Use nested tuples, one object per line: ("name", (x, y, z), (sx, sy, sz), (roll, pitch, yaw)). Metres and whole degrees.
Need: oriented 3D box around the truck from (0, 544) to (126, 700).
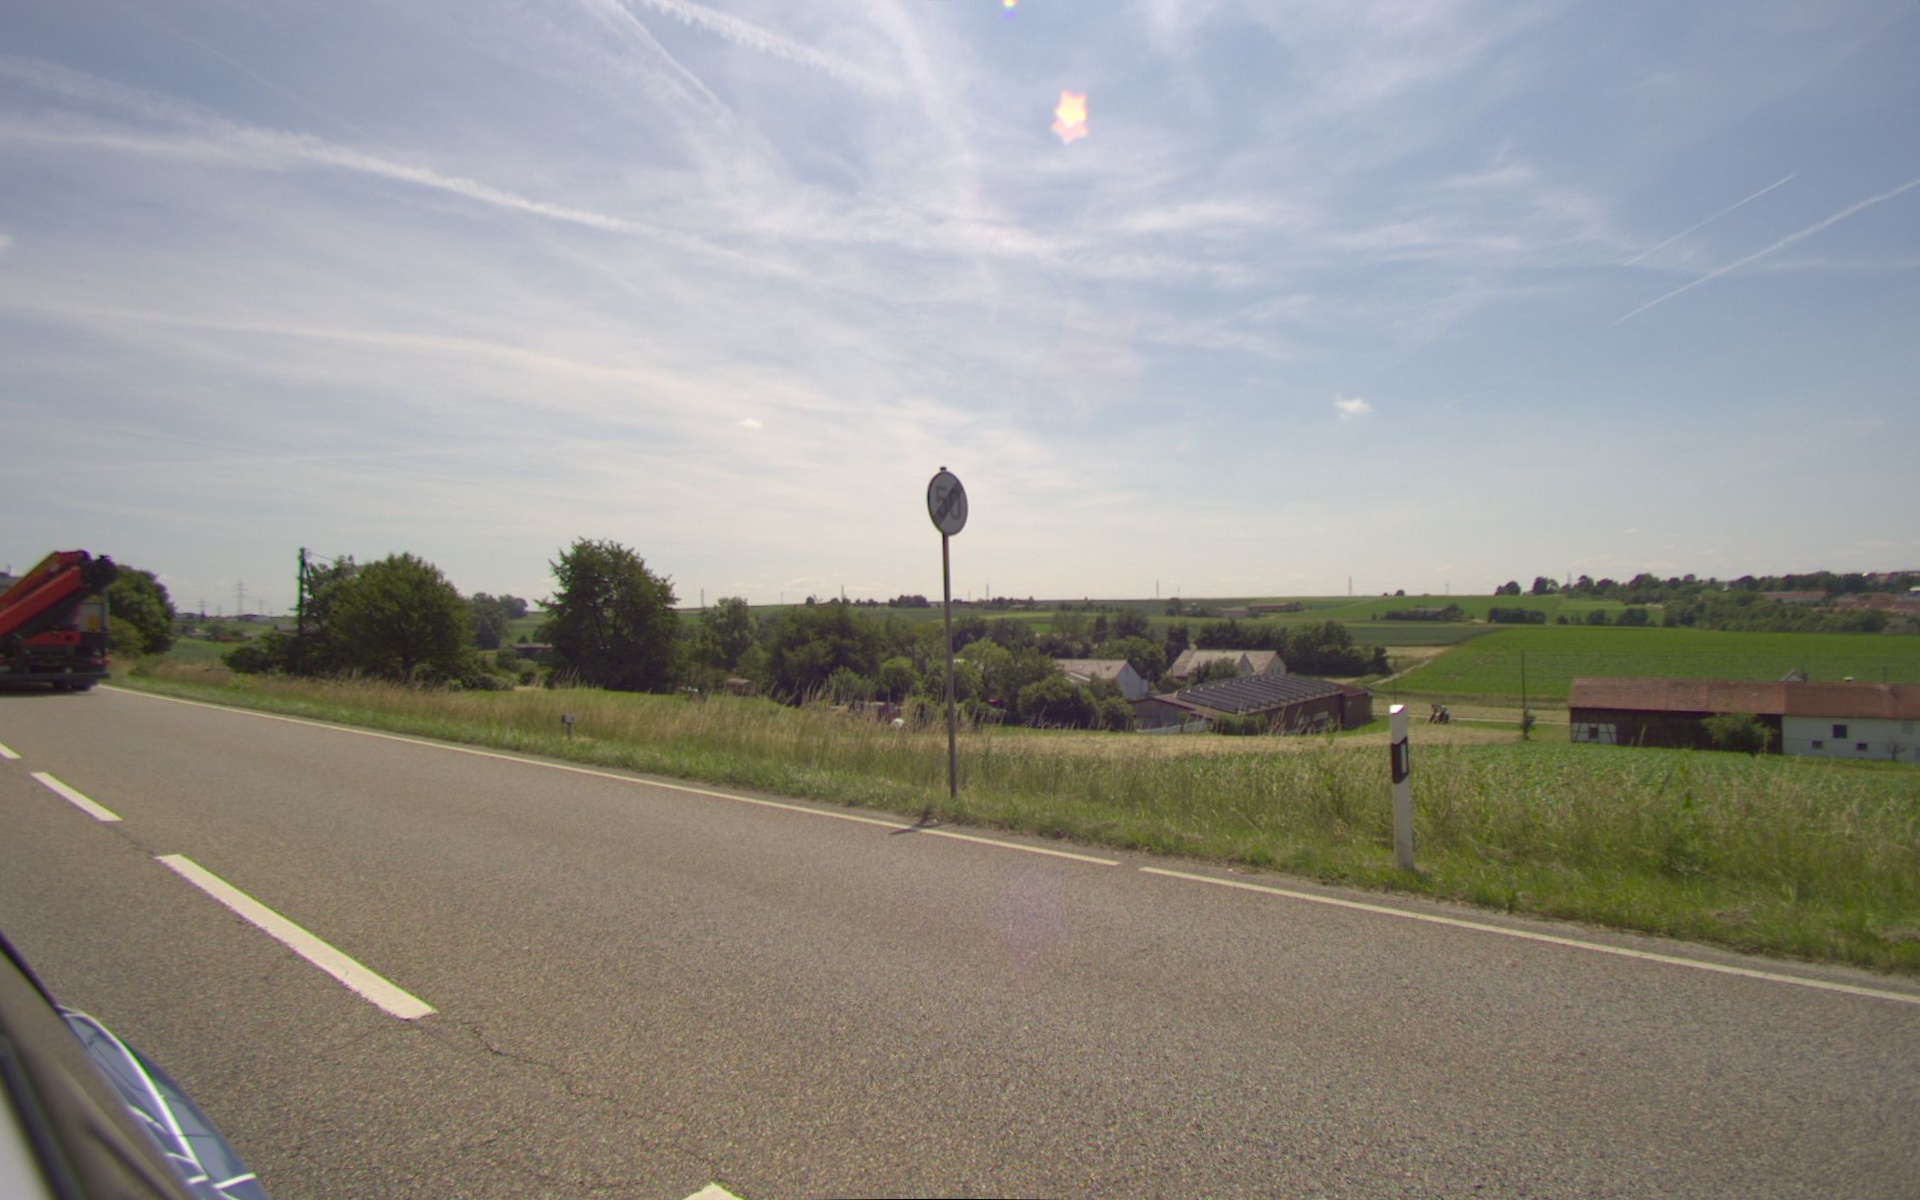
("truck", (-25.706, 0.705, 27.643), (11.060, 3.604, 2.727), (-2, -4, 42))
